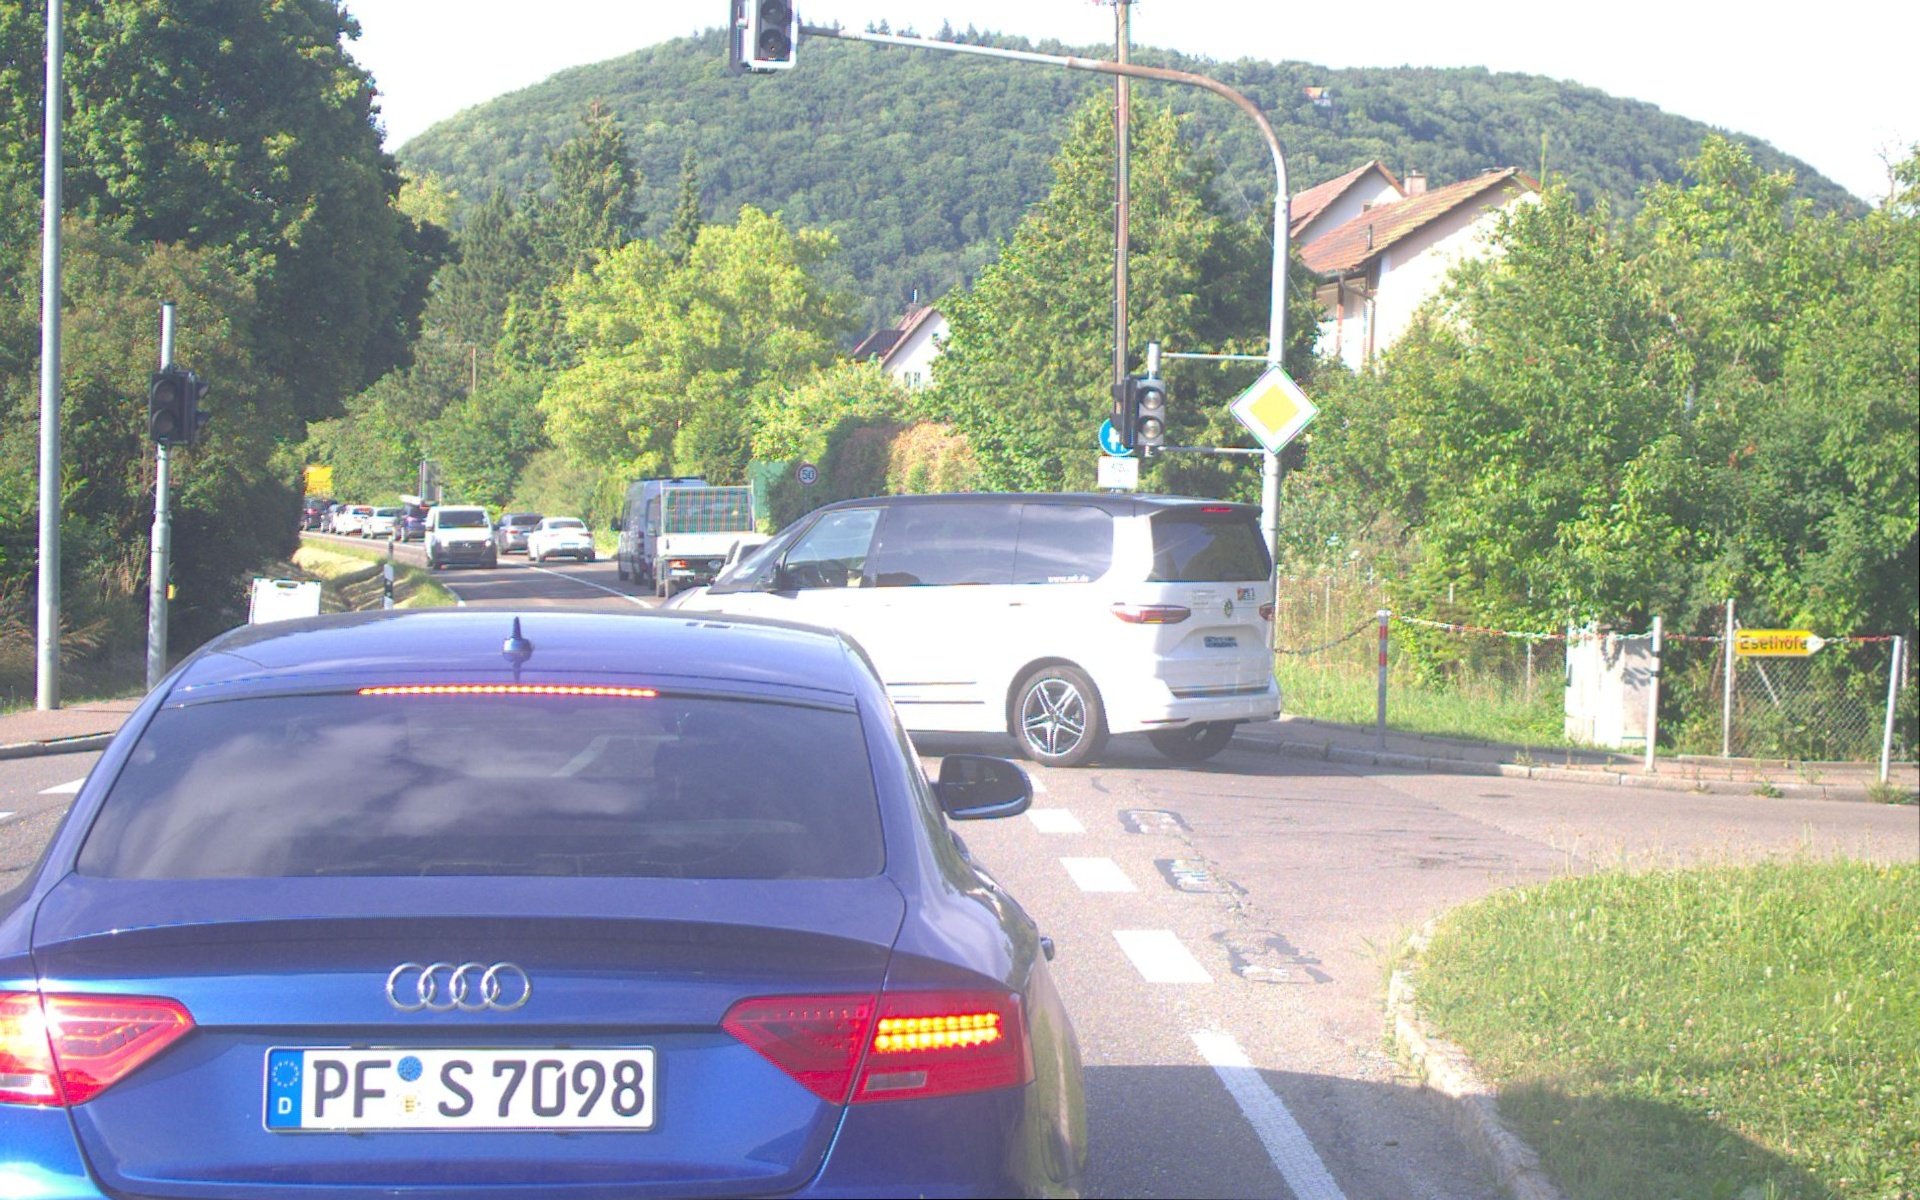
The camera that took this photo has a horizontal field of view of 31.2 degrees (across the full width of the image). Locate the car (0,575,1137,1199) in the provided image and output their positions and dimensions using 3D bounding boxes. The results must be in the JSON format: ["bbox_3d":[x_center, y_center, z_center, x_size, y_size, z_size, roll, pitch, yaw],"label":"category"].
[{"bbox_3d":[-0.769,0.695,6.483,1.829,1.404,4.227,-1,1,-2],"label":"car"}]

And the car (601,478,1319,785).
[{"bbox_3d":[-0.058,0.158,24.993,4.865,1.870,1.996,4,2,34],"label":"car"}]

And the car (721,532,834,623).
[{"bbox_3d":[-3.043,-0.402,57.894,1.771,1.410,4.174,2,1,-2],"label":"car"}]

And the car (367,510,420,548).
[{"bbox_3d":[-25.783,-3.240,156.472,1.941,1.678,4.001,-1,1,-16],"label":"car"}]

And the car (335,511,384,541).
[{"bbox_3d":[-28.889,-3.560,165.240,1.941,1.419,4.001,0,2,-16],"label":"car"}]

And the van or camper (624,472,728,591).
[{"bbox_3d":[-7.202,-1.755,86.693,2.414,2.894,6.133,0,2,-6],"label":"van or camper"}]

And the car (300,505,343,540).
[{"bbox_3d":[-33.010,-4.012,177.674,1.771,1.776,4.001,0,2,-16],"label":"car"}]

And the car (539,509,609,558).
[{"bbox_3d":[-12.474,-2.166,110.937,1.819,1.546,4.001,-1,1,-12],"label":"car"}]

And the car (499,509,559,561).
[{"bbox_3d":[-15.374,-2.334,122.475,1.796,1.787,4.001,0,2,-12],"label":"car"}]

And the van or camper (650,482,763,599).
[{"bbox_3d":[-5.426,-1.283,72.943,2.179,2.377,5.371,0,2,-6],"label":"van or camper"}]

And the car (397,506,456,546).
[{"bbox_3d":[-22.992,-3.210,147.957,2.040,1.678,4.002,0,2,-16],"label":"car"}]

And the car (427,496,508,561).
[{"bbox_3d":[-15.044,-2.207,104.800,1.993,1.897,5.255,-1,2,-13],"label":"car"}]
